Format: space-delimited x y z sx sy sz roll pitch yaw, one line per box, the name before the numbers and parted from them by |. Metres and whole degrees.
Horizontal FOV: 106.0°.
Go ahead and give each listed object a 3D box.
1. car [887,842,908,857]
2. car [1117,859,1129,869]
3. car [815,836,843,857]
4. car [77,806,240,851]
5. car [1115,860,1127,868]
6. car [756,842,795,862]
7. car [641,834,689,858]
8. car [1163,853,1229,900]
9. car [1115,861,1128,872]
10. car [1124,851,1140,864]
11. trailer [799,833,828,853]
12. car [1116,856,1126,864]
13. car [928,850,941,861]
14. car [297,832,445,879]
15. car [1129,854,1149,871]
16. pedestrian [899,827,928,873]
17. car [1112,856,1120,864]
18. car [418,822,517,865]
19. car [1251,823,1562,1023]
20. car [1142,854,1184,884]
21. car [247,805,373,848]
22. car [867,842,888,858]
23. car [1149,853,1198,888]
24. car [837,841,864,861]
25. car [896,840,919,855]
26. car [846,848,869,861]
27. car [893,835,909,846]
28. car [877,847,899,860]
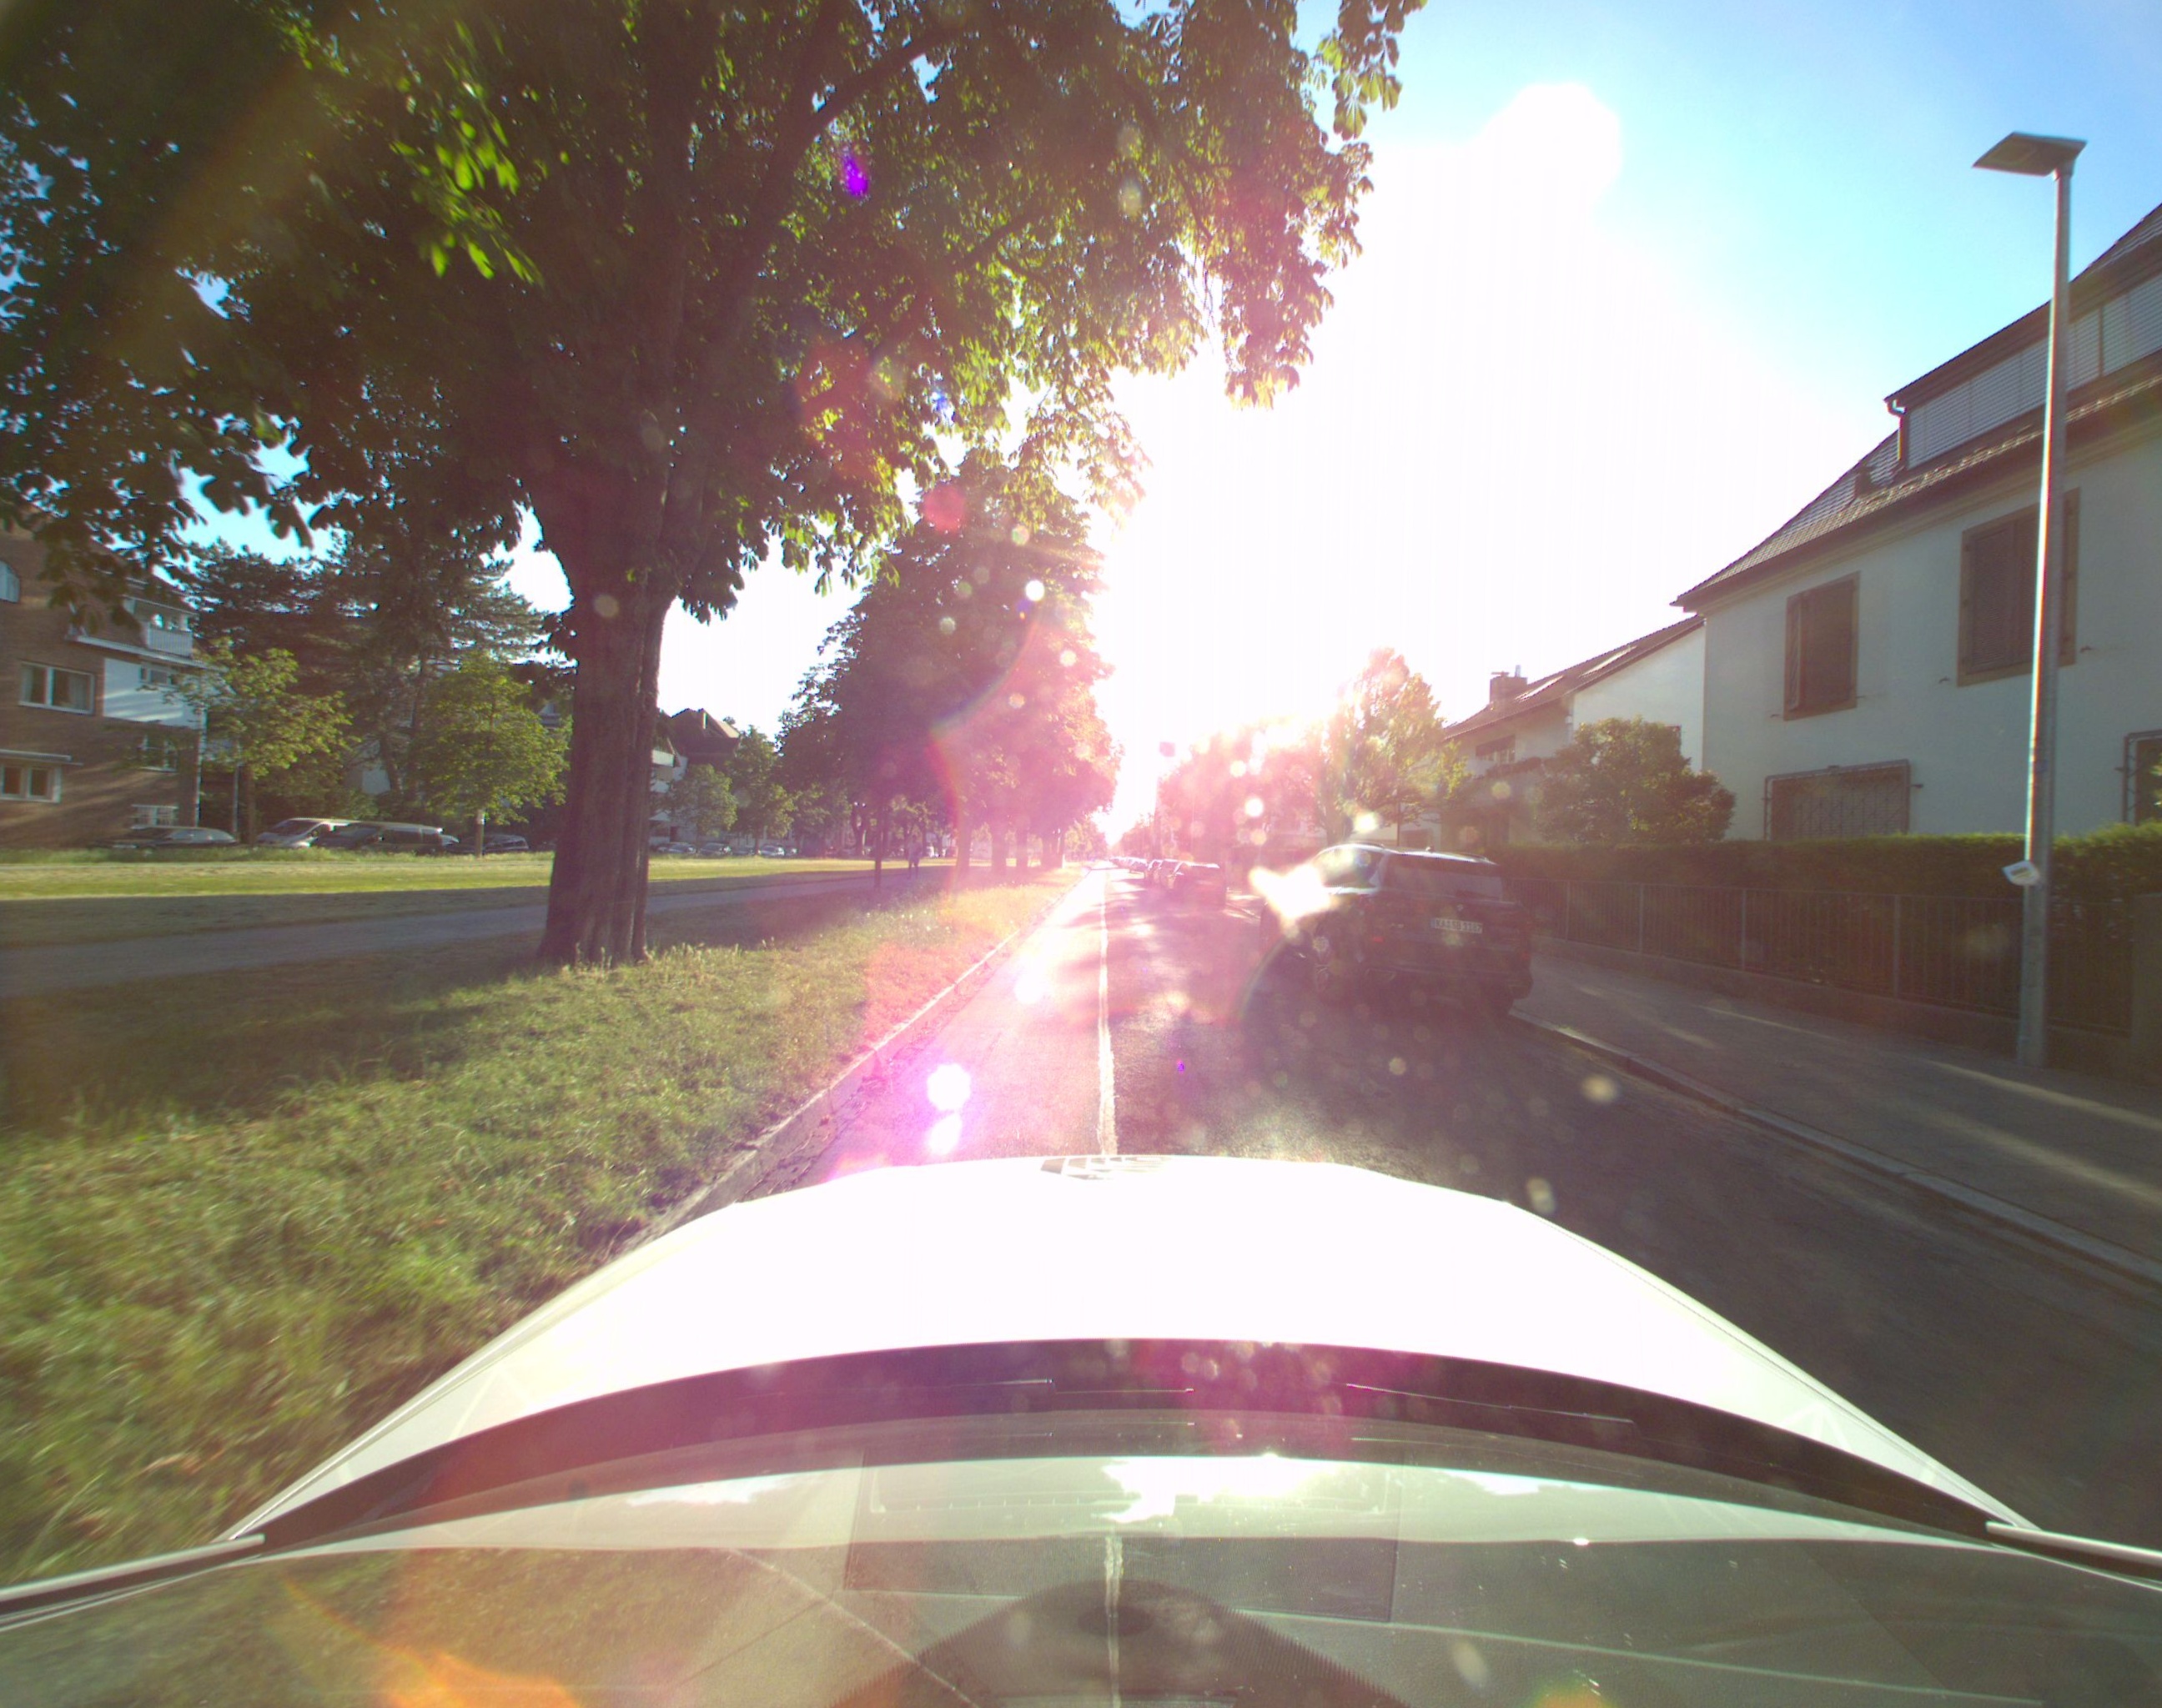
car | -29.630 -0.650 131.671 1.986 2.250 5.188 2 -1 2
car | 7.020 1.718 136.655 1.755 1.521 4.000 4 -1 1
car | -35.844 -1.046 115.908 1.986 2.673 5.189 2 -1 2
car | -38.659 -1.010 34.300 1.750 1.623 4.307 3 -1 2
car | 7.237 1.822 147.086 1.985 1.464 4.002 2 -1 3
car | -30.383 -0.165 81.163 1.985 1.860 4.258 3 -1 3
car | -37.515 -0.670 73.559 2.023 2.014 4.002 0 -1 2
car | 4.130 0.796 29.914 1.787 1.492 4.675 3 -1 1
car | 6.224 1.868 126.335 1.753 1.605 4.358 2 -1 0
car | 6.609 0.486 105.823 1.753 1.605 4.358 2 -1 0
trailer | -36.012 -1.459 109.728 1.986 2.428 4.726 2 -1 2
car | 8.459 1.305 173.052 1.985 1.629 4.002 2 -1 3
car | -33.845 0.429 188.147 1.986 2.410 4.365 0 -1 2
car | -32.530 0.079 37.601 1.985 1.940 5.249 2 0 3
car | 5.837 0.896 82.541 1.750 1.420 4.074 8 -1 2
pedestrian | -6.480 -0.152 31.563 0.720 1.758 0.995 2 0 8
car | 8.987 1.542 207.646 1.972 1.683 4.002 2 -1 3
car | -32.700 -0.506 43.542 1.986 2.014 4.002 4 -1 2
car | 3.623 0.689 10.231 1.986 1.737 4.866 5 -1 2
car | 4.473 0.810 45.229 1.744 1.477 4.286 4 -1 -1
car | -37.983 -1.309 40.279 1.809 1.838 4.410 3 -1 2
car | -30.078 -0.585 120.276 1.678 2.176 4.317 3 0 3
car | 4.497 0.803 40.216 1.687 1.483 3.925 6 -1 -2
car | -35.734 -0.452 126.364 2.428 2.922 5.819 0 -1 2
car | -29.462 -1.087 138.601 2.525 2.236 5.461 2 0 2
car | -30.182 0.110 109.963 1.678 1.560 4.317 2 -1 3
car | -36.246 -2.668 163.717 1.986 2.013 4.486 -4 -1 2
car | -29.818 -0.099 125.953 1.985 1.793 4.487 2 -1 3
